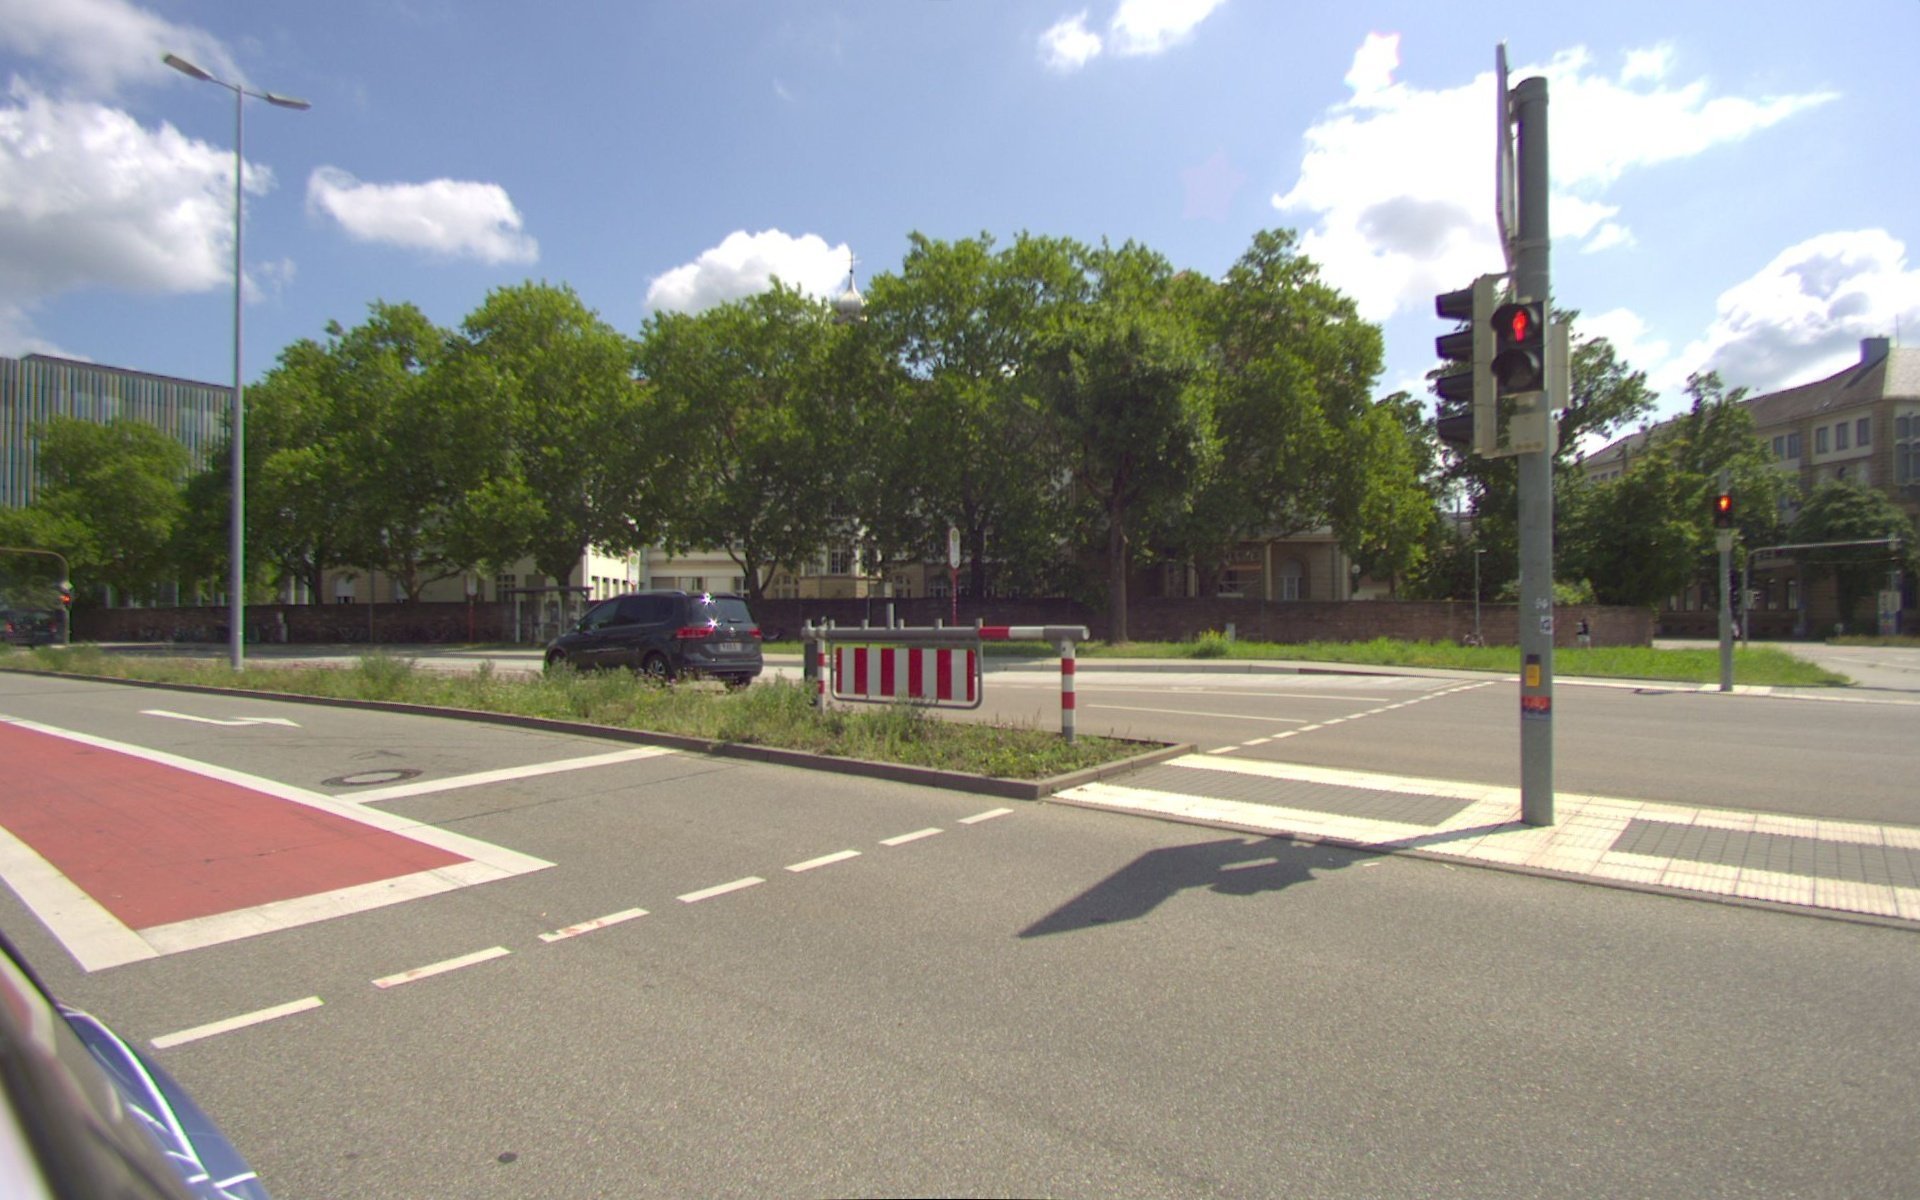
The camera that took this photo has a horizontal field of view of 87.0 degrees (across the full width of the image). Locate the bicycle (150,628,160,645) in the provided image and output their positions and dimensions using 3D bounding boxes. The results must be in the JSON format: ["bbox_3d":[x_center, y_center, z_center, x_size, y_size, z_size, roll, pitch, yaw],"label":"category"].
[{"bbox_3d":[-51.558,2.332,64.821,0.324,1.025,1.675,1,-1,-33],"label":"bicycle"}]

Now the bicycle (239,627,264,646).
[{"bbox_3d":[-42.136,2.155,60.175,1.660,1.116,0.379,-1,-1,24],"label":"bicycle"}]

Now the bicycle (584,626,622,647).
[{"bbox_3d":[-17.983,1.841,50.909,1.940,1.051,0.396,-1,-1,17],"label":"bicycle"}]

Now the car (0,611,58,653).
[{"bbox_3d":[-51.067,1.735,54.987,4.512,2.188,2.189,-1,-3,37],"label":"car"}]

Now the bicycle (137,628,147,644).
[{"bbox_3d":[-53.027,2.333,65.578,0.324,1.025,1.675,1,-1,-33],"label":"bicycle"}]

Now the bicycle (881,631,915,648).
[{"bbox_3d":[-2.936,1.869,47.923,1.527,0.795,0.397,0,-1,9],"label":"bicycle"}]

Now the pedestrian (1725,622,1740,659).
[{"bbox_3d":[38.853,2.033,50.891,0.435,1.834,0.566,0,0,18],"label":"pedestrian"}]

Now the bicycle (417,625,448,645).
[{"bbox_3d":[-28.267,1.893,54.261,1.748,1.051,0.395,-1,-1,20],"label":"bicycle"}]

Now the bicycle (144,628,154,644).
[{"bbox_3d":[-52.198,2.330,65.148,0.324,1.025,1.675,1,-1,-33],"label":"bicycle"}]

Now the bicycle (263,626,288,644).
[{"bbox_3d":[-39.854,2.028,58.934,1.660,1.051,0.379,-1,-1,24],"label":"bicycle"}]

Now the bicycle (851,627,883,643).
[{"bbox_3d":[-4.420,1.664,48.177,1.449,0.795,0.397,0,-1,9],"label":"bicycle"}]

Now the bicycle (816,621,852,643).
[{"bbox_3d":[-6.028,1.513,48.440,1.668,1.038,0.397,0,-1,9],"label":"bicycle"}]

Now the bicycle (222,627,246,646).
[{"bbox_3d":[-43.673,2.209,60.883,1.660,1.116,0.379,-1,-1,25],"label":"bicycle"}]

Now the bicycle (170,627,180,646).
[{"bbox_3d":[-49.343,2.284,63.608,0.376,1.116,1.675,1,-1,-33],"label":"bicycle"}]

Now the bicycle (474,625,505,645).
[{"bbox_3d":[-24.661,1.823,53.053,1.625,1.051,0.396,-1,-1,17],"label":"bicycle"}]

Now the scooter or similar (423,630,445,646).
[{"bbox_3d":[-27.735,2.001,53.386,1.058,0.800,0.352,0,-1,11],"label":"scooter or similar"}]

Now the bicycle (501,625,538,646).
[{"bbox_3d":[-22.853,1.839,52.505,1.940,1.051,0.396,-1,-1,17],"label":"bicycle"}]

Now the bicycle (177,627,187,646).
[{"bbox_3d":[-48.619,2.279,63.223,0.376,1.116,1.675,1,-1,-33],"label":"bicycle"}]

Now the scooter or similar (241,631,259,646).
[{"bbox_3d":[-41.412,2.230,59.057,1.062,0.850,0.350,-1,-1,23],"label":"scooter or similar"}]

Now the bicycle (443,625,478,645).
[{"bbox_3d":[-26.444,1.863,53.602,1.942,1.051,0.395,-1,-1,19],"label":"bicycle"}]

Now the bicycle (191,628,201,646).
[{"bbox_3d":[-47.170,2.266,62.481,0.376,1.116,1.675,1,-1,-33],"label":"bicycle"}]

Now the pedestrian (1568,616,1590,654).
[{"bbox_3d":[28.713,1.618,46.951,0.669,1.708,0.489,-1,0,-3],"label":"pedestrian"}]

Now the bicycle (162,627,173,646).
[{"bbox_3d":[-49.845,2.289,63.650,0.376,1.116,1.675,1,-1,-33],"label":"bicycle"}]

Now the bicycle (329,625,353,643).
[{"bbox_3d":[-34.751,1.909,56.817,1.407,1.051,0.375,-1,-1,22],"label":"bicycle"}]

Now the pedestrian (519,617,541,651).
[{"bbox_3d":[-21.255,1.679,50.031,0.771,1.623,0.721,0,-1,6],"label":"pedestrian"}]

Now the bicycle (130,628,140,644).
[{"bbox_3d":[-53.696,2.337,65.893,0.324,1.025,1.675,1,-1,-33],"label":"bicycle"}]

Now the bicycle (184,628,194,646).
[{"bbox_3d":[-47.862,2.271,62.807,0.376,1.116,1.675,1,-1,-33],"label":"bicycle"}]

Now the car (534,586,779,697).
[{"bbox_3d":[-5.139,0.655,16.912,4.149,1.636,1.863,-2,-1,38],"label":"car"}]

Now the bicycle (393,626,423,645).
[{"bbox_3d":[-29.955,1.904,54.916,1.749,1.011,0.395,-1,-1,22],"label":"bicycle"}]

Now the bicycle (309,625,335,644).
[{"bbox_3d":[-36.182,1.943,57.433,1.660,1.051,0.379,-1,-1,24],"label":"bicycle"}]

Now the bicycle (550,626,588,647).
[{"bbox_3d":[-19.910,1.841,51.508,1.940,1.051,0.396,-1,-1,17],"label":"bicycle"}]

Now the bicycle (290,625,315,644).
[{"bbox_3d":[-37.787,1.982,58.146,1.660,1.051,0.379,-1,-1,24],"label":"bicycle"}]

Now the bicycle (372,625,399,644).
[{"bbox_3d":[-31.559,1.903,55.555,1.572,1.051,0.395,-1,-1,22],"label":"bicycle"}]

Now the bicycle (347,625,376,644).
[{"bbox_3d":[-33.262,1.890,56.219,1.749,1.051,0.395,-1,-1,22],"label":"bicycle"}]

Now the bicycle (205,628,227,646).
[{"bbox_3d":[-45.460,2.265,61.831,1.661,1.116,0.379,-1,-1,27],"label":"bicycle"}]
